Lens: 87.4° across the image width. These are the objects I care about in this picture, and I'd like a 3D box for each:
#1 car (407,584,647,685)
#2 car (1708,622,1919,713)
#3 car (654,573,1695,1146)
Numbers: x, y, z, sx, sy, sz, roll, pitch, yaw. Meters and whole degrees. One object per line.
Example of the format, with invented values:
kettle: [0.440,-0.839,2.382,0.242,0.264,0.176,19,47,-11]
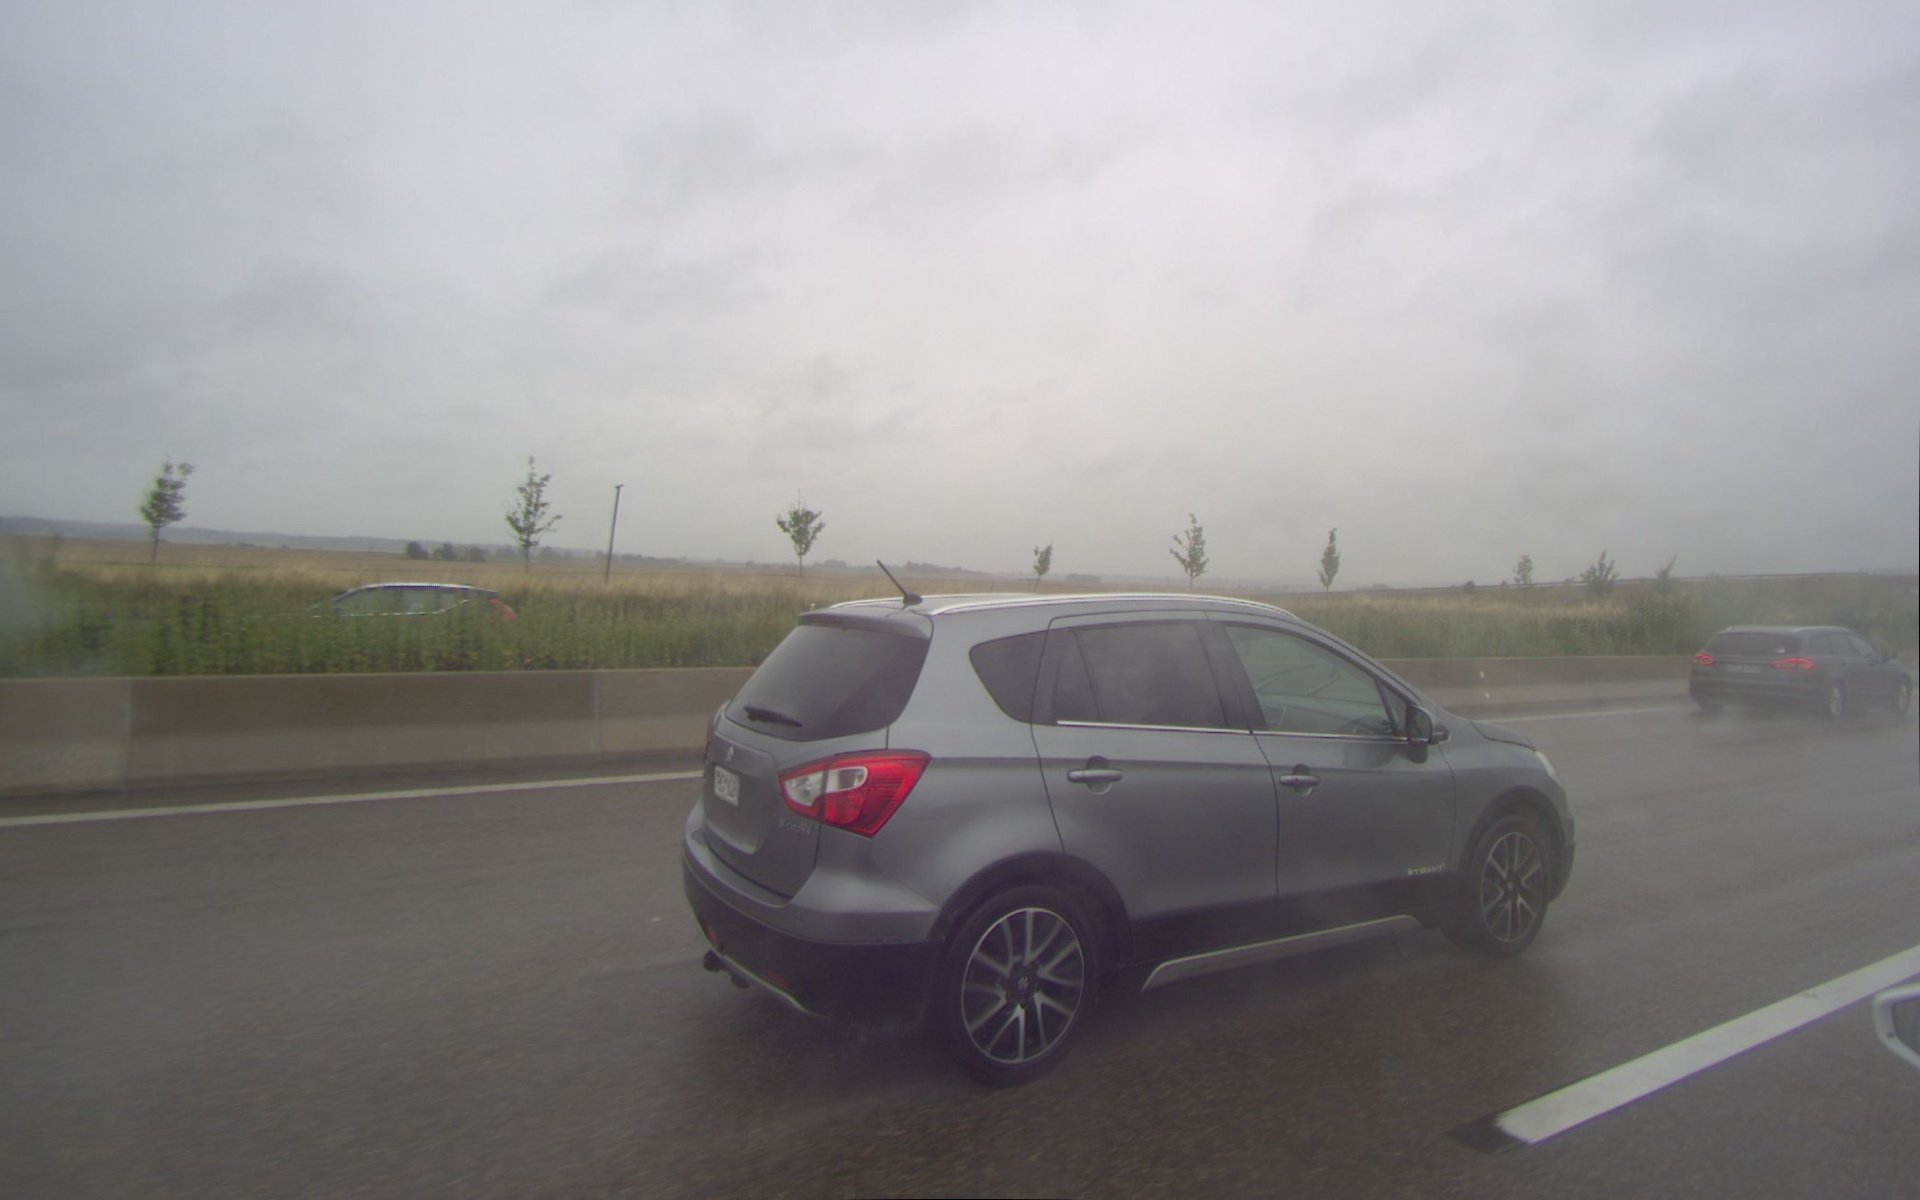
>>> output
car: [-7.422,0.563,17.253,3.583,1.573,1.832,2,0,-30]
car: [14.747,1.095,17.219,3.951,1.372,1.606,1,0,-29]
car: [1.191,0.763,4.669,4.700,1.533,1.838,2,0,-30]
